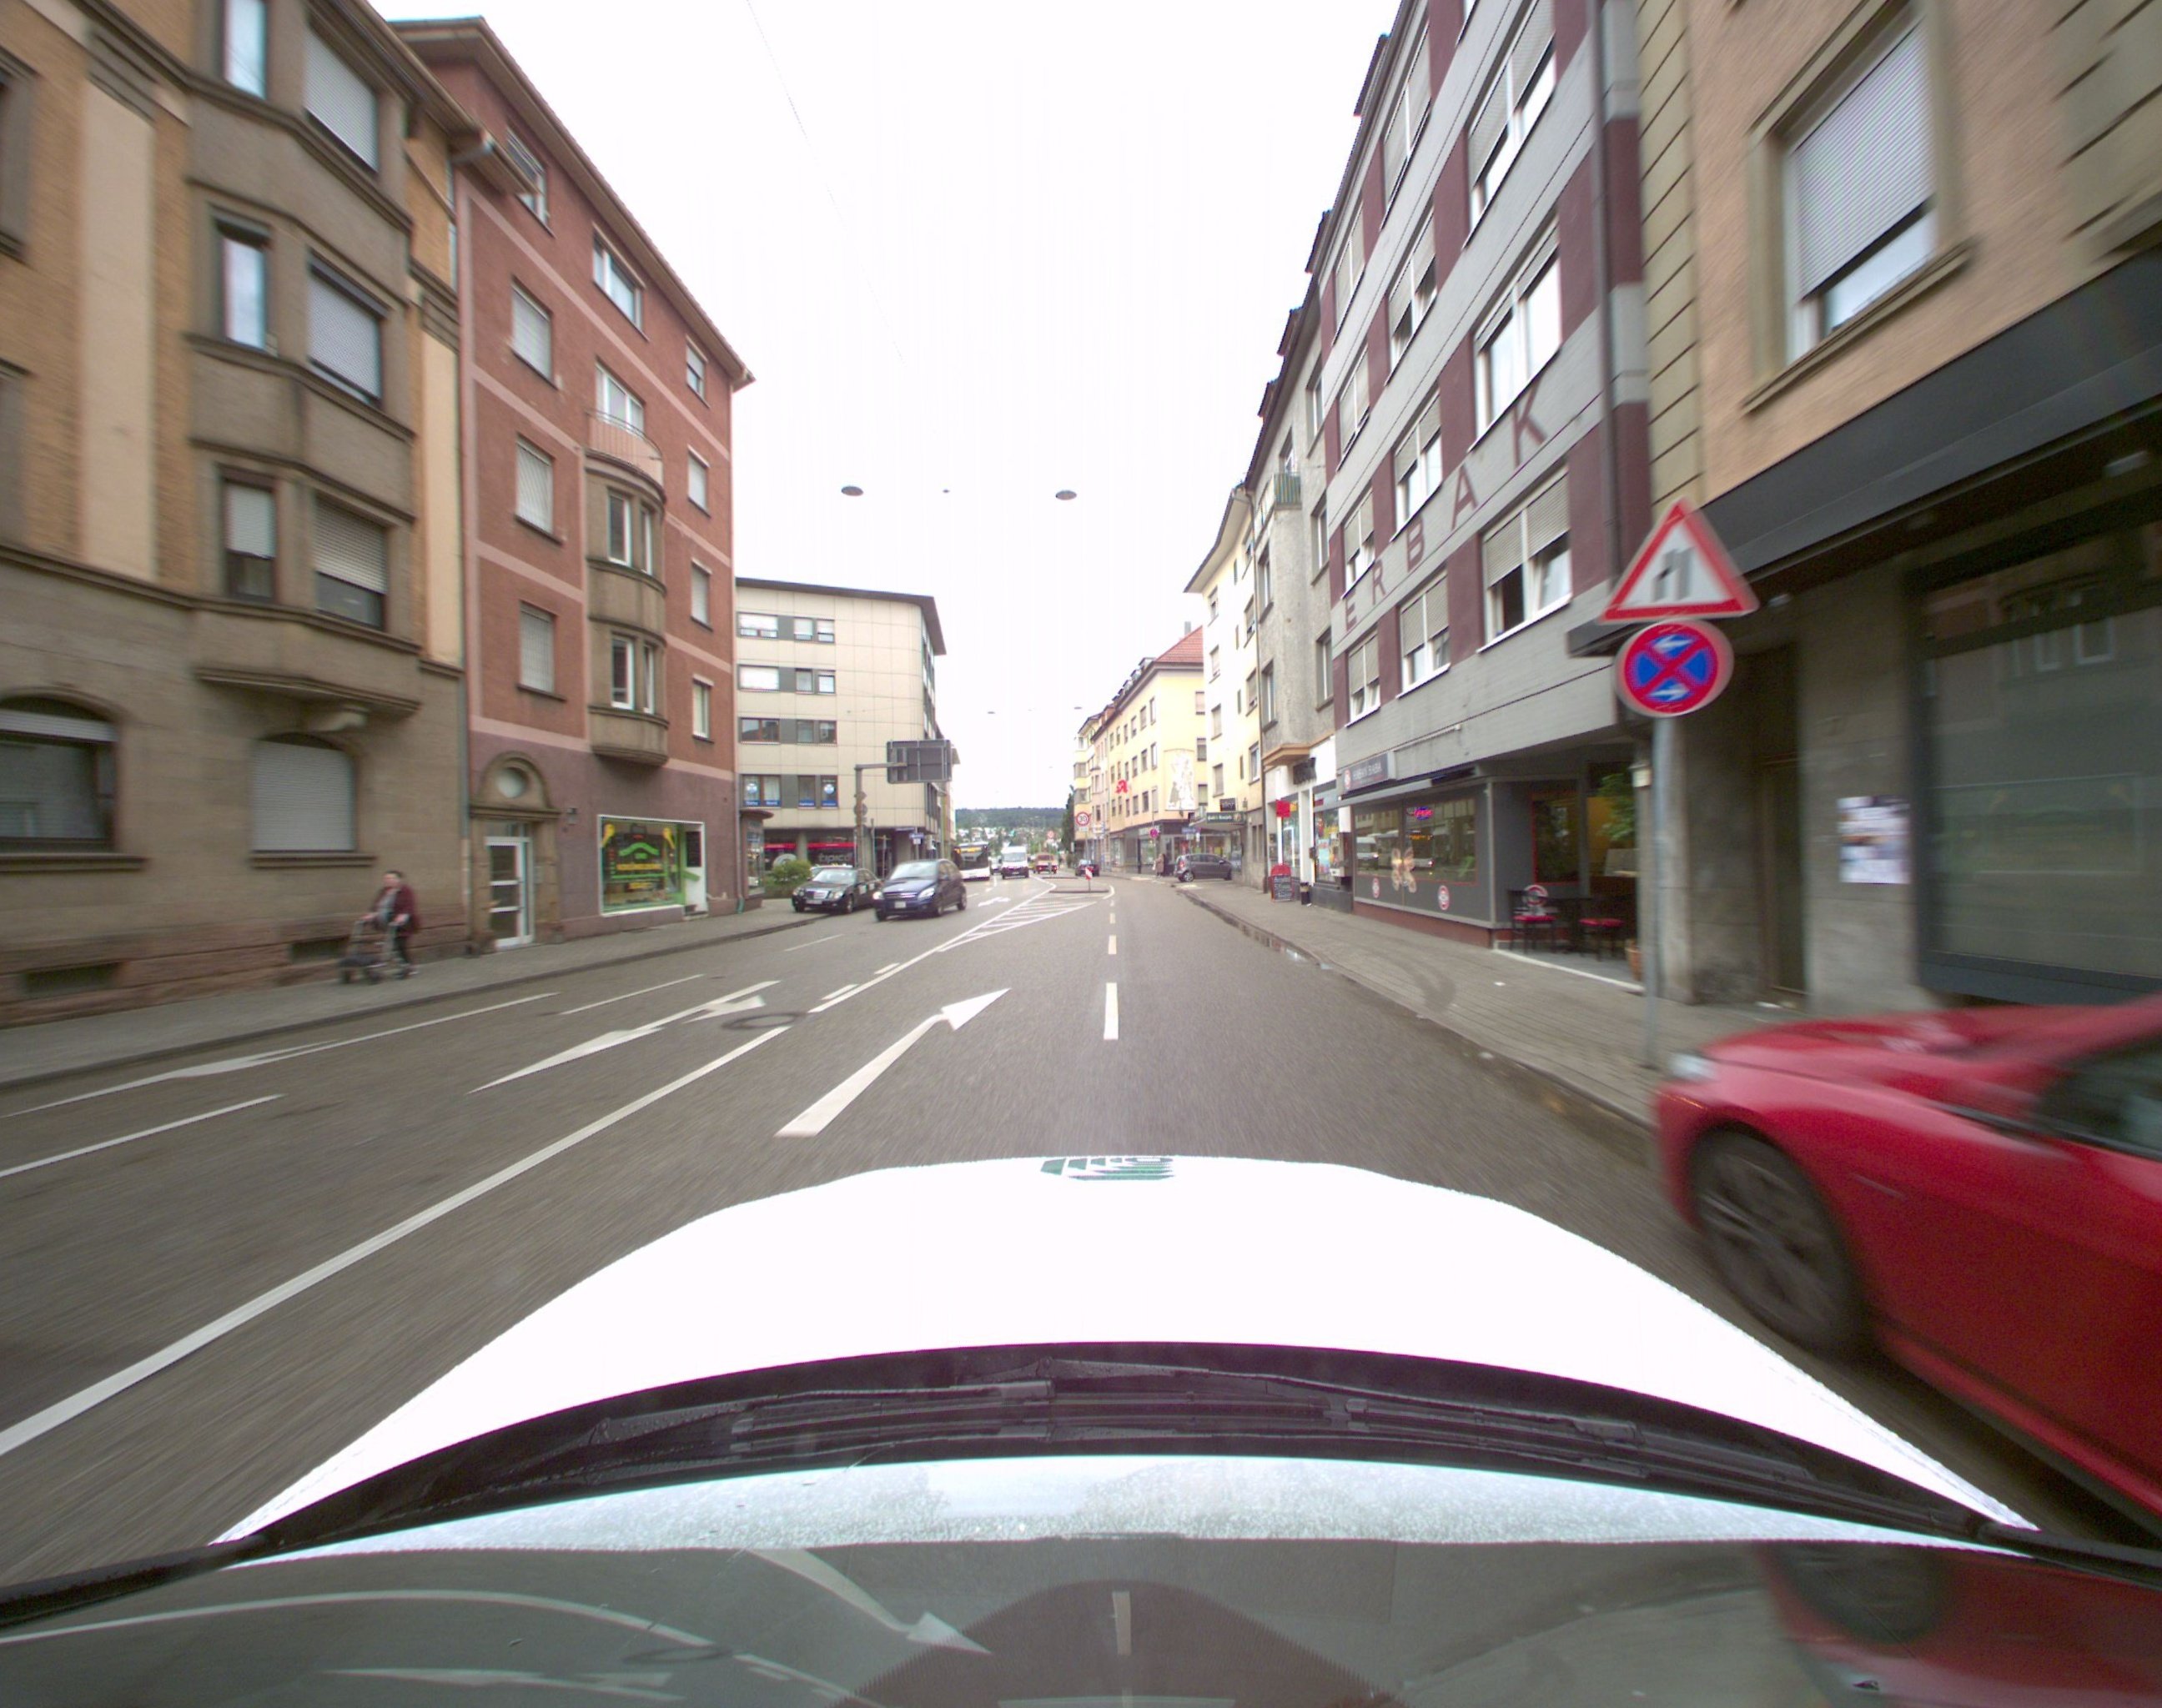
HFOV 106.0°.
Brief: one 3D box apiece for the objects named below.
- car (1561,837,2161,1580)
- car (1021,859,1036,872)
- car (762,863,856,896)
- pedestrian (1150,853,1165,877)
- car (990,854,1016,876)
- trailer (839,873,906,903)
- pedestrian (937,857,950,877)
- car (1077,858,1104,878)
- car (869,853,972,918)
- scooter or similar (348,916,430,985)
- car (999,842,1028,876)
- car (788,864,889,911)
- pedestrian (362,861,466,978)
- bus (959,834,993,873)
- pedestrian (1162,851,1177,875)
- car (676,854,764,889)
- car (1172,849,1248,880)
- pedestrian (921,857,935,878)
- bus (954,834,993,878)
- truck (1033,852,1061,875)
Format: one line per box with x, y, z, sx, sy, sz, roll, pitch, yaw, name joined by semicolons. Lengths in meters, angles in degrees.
2.891;0.664;1.348;1.737;1.369;4.317;-2;0;2;car
-6.945;1.518;107.839;1.752;1.651;3.991;-2;-1;-6;car
-14.860;1.374;44.472;4.653;1.533;1.889;-2;-1;-27;car
5.100;0.718;54.154;0.778;1.560;0.780;-2;-1;-8;pedestrian
-8.291;1.174;85.847;2.399;2.129;5.299;-2;-1;-8;car
-8.049;1.298;31.679;1.581;0.949;3.059;3;0;4;trailer
-12.107;1.127;71.642;0.998;1.684;1.263;-2;-1;-4;pedestrian
0.739;1.141;66.575;1.752;1.479;3.991;-2;-1;-6;car
-4.532;0.852;23.652;1.746;1.651;4.312;-2;-1;5;car
-9.785;1.355;11.537;0.712;0.925;0.478;0;-1;-11;scooter or similar
-5.209;0.432;63.727;2.082;2.435;6.343;-2;-1;-4;car
-8.093;1.066;27.693;1.843;1.397;4.794;1;0;2;car
-9.935;0.953;12.167;0.842;1.679;0.850;1;-1;-11;pedestrian
-9.411;0.055;73.597;2.722;3.188;9.271;-2;-1;-6;bus
5.910;0.596;54.510;0.768;1.560;0.874;-2;-1;-8;pedestrian
-16.712;0.809;37.864;3.527;1.482;1.682;-2;-1;-20;car
7.168;0.574;45.581;3.818;1.574;1.933;-2;-1;-4;car
-12.031;1.080;64.189;0.943;1.589;0.833;-2;-1;-4;pedestrian
-8.434;0.224;64.530;2.755;3.188;8.891;-2;-1;-6;bus
-3.475;0.938;81.663;2.397;2.129;5.302;-2;-1;-7;truck
